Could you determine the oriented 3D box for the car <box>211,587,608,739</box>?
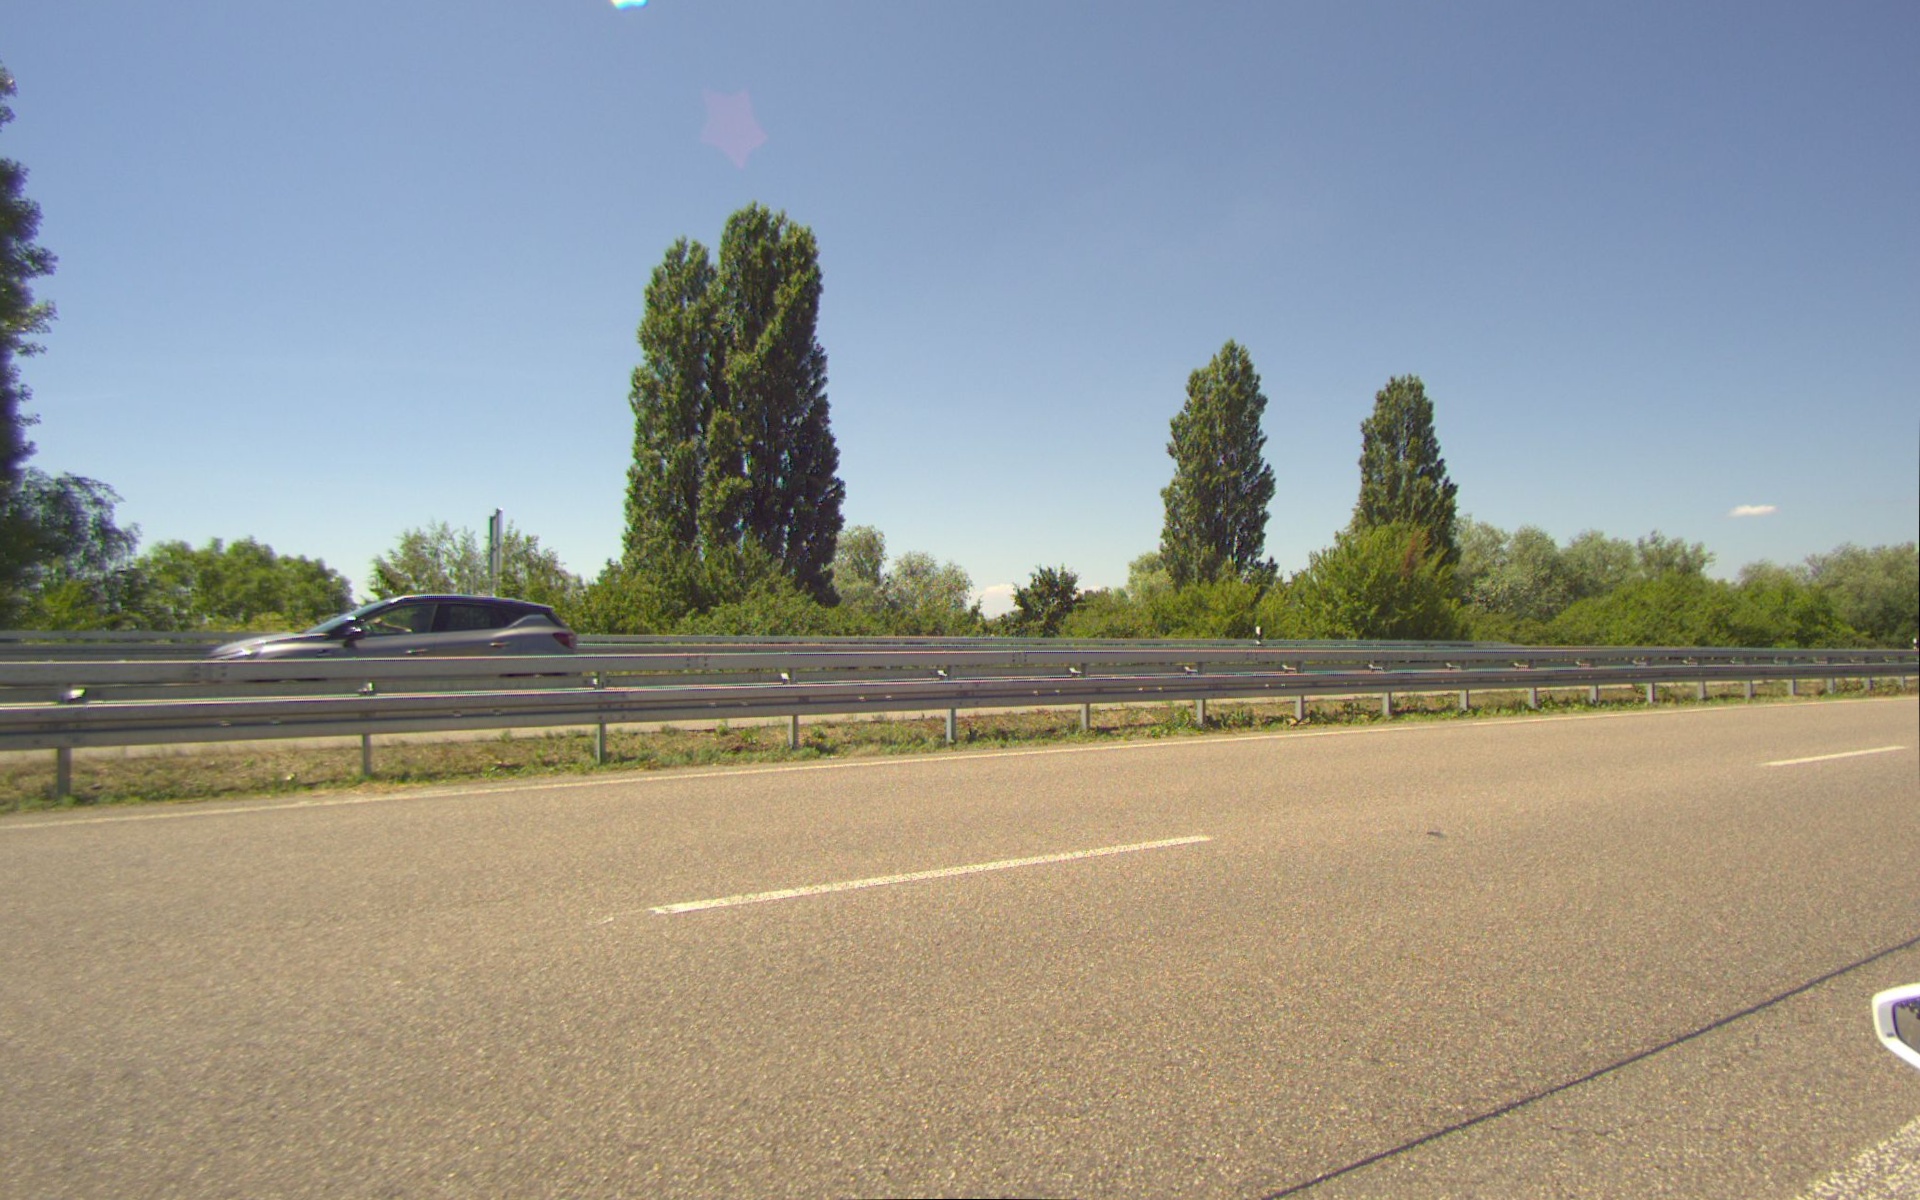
[{"bbox_3d":[-6.843,0.754,12.849,4.140,1.669,1.816,2,-2,-30],"label":"car"}]
